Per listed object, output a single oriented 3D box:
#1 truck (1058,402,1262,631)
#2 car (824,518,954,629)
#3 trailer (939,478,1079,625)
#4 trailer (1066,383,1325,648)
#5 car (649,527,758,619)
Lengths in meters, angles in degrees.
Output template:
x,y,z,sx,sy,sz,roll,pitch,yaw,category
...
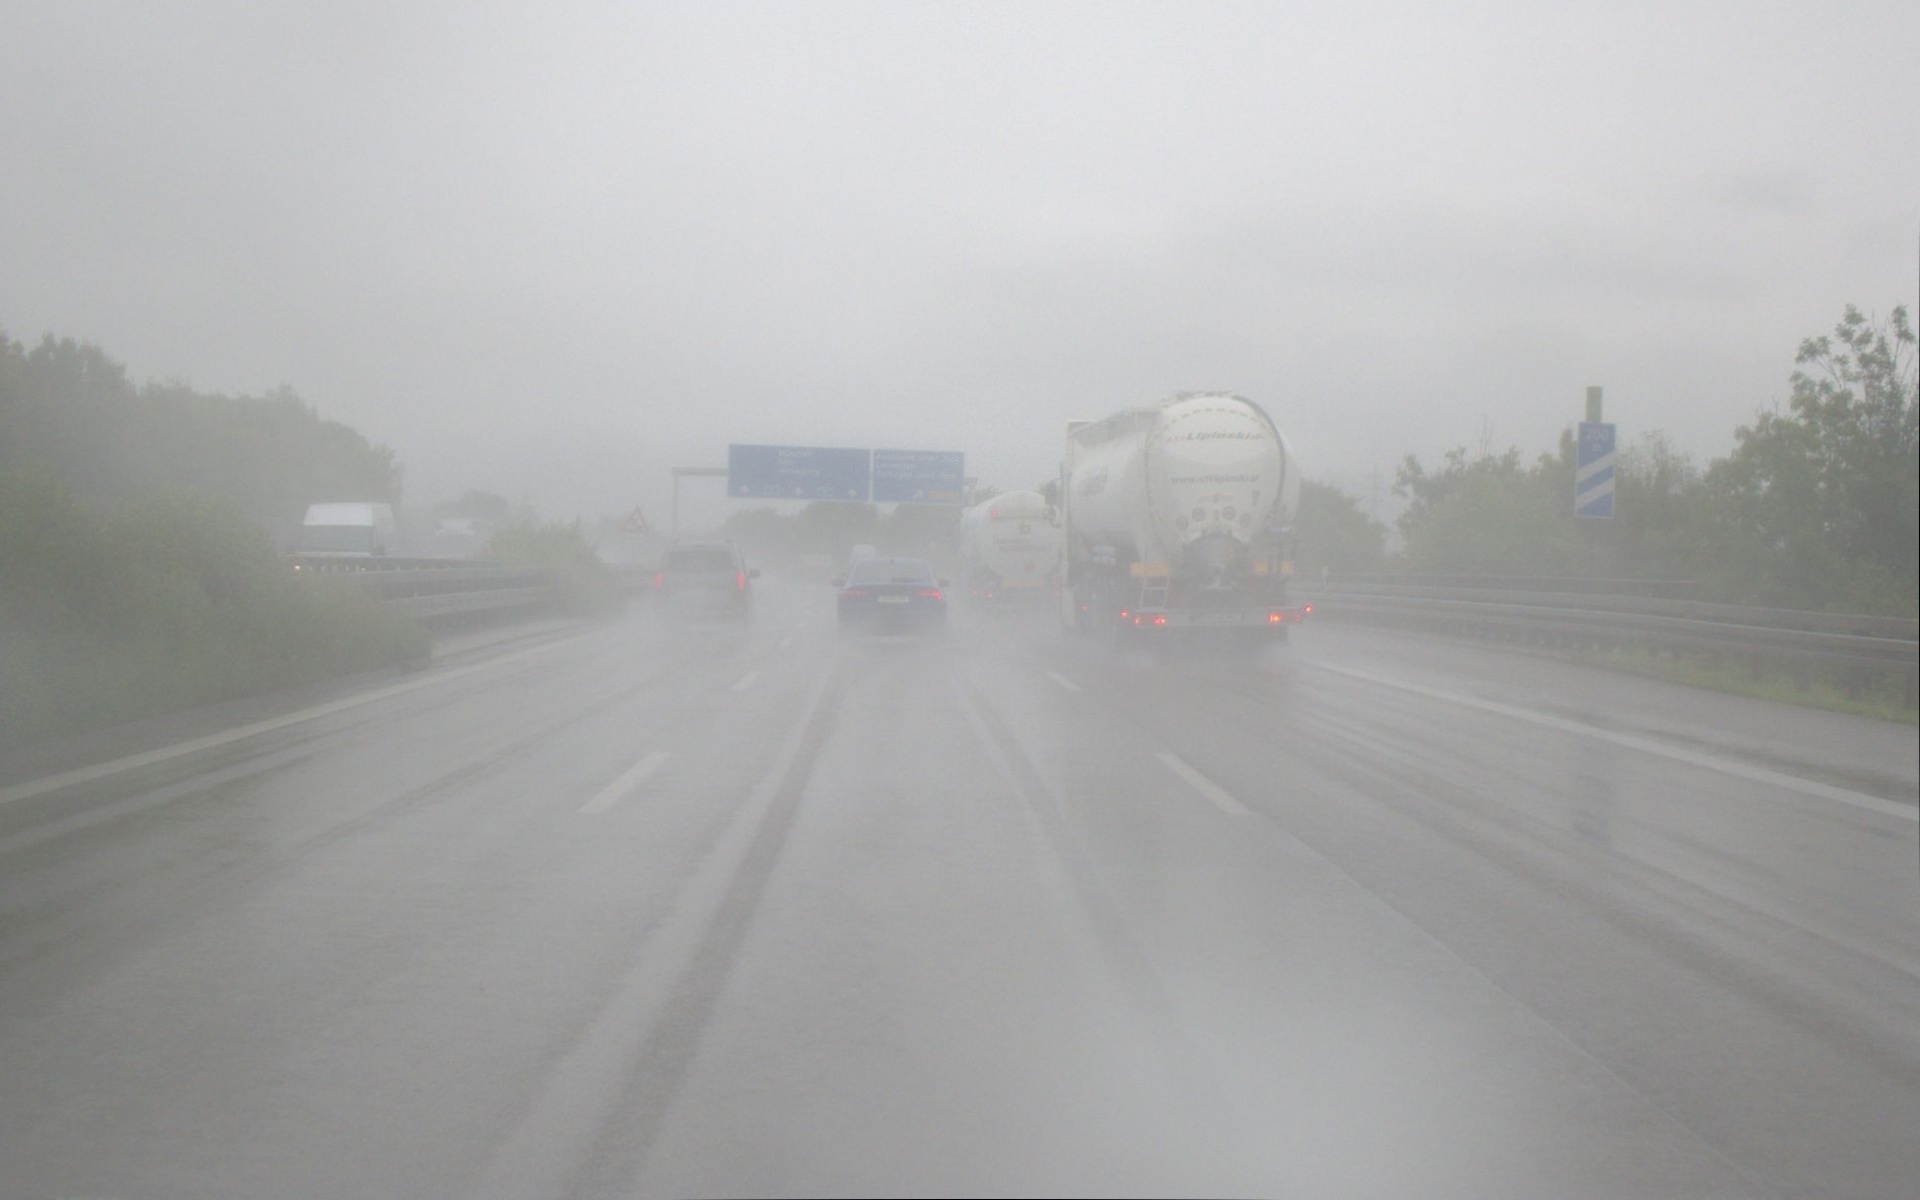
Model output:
x,y,z,sx,sy,sz,roll,pitch,yaw,category
3.429,-1.455,60.867,3.104,3.793,7.213,0,1,0,truck
-1.129,-0.465,56.782,1.978,1.750,4.481,0,1,1,car
1.270,-1.350,94.988,3.004,3.834,8.625,1,1,-5,trailer
3.447,-1.268,53.465,3.188,3.657,11.667,0,1,0,trailer
-4.996,-0.548,67.430,1.925,1.735,4.404,1,1,-2,car
